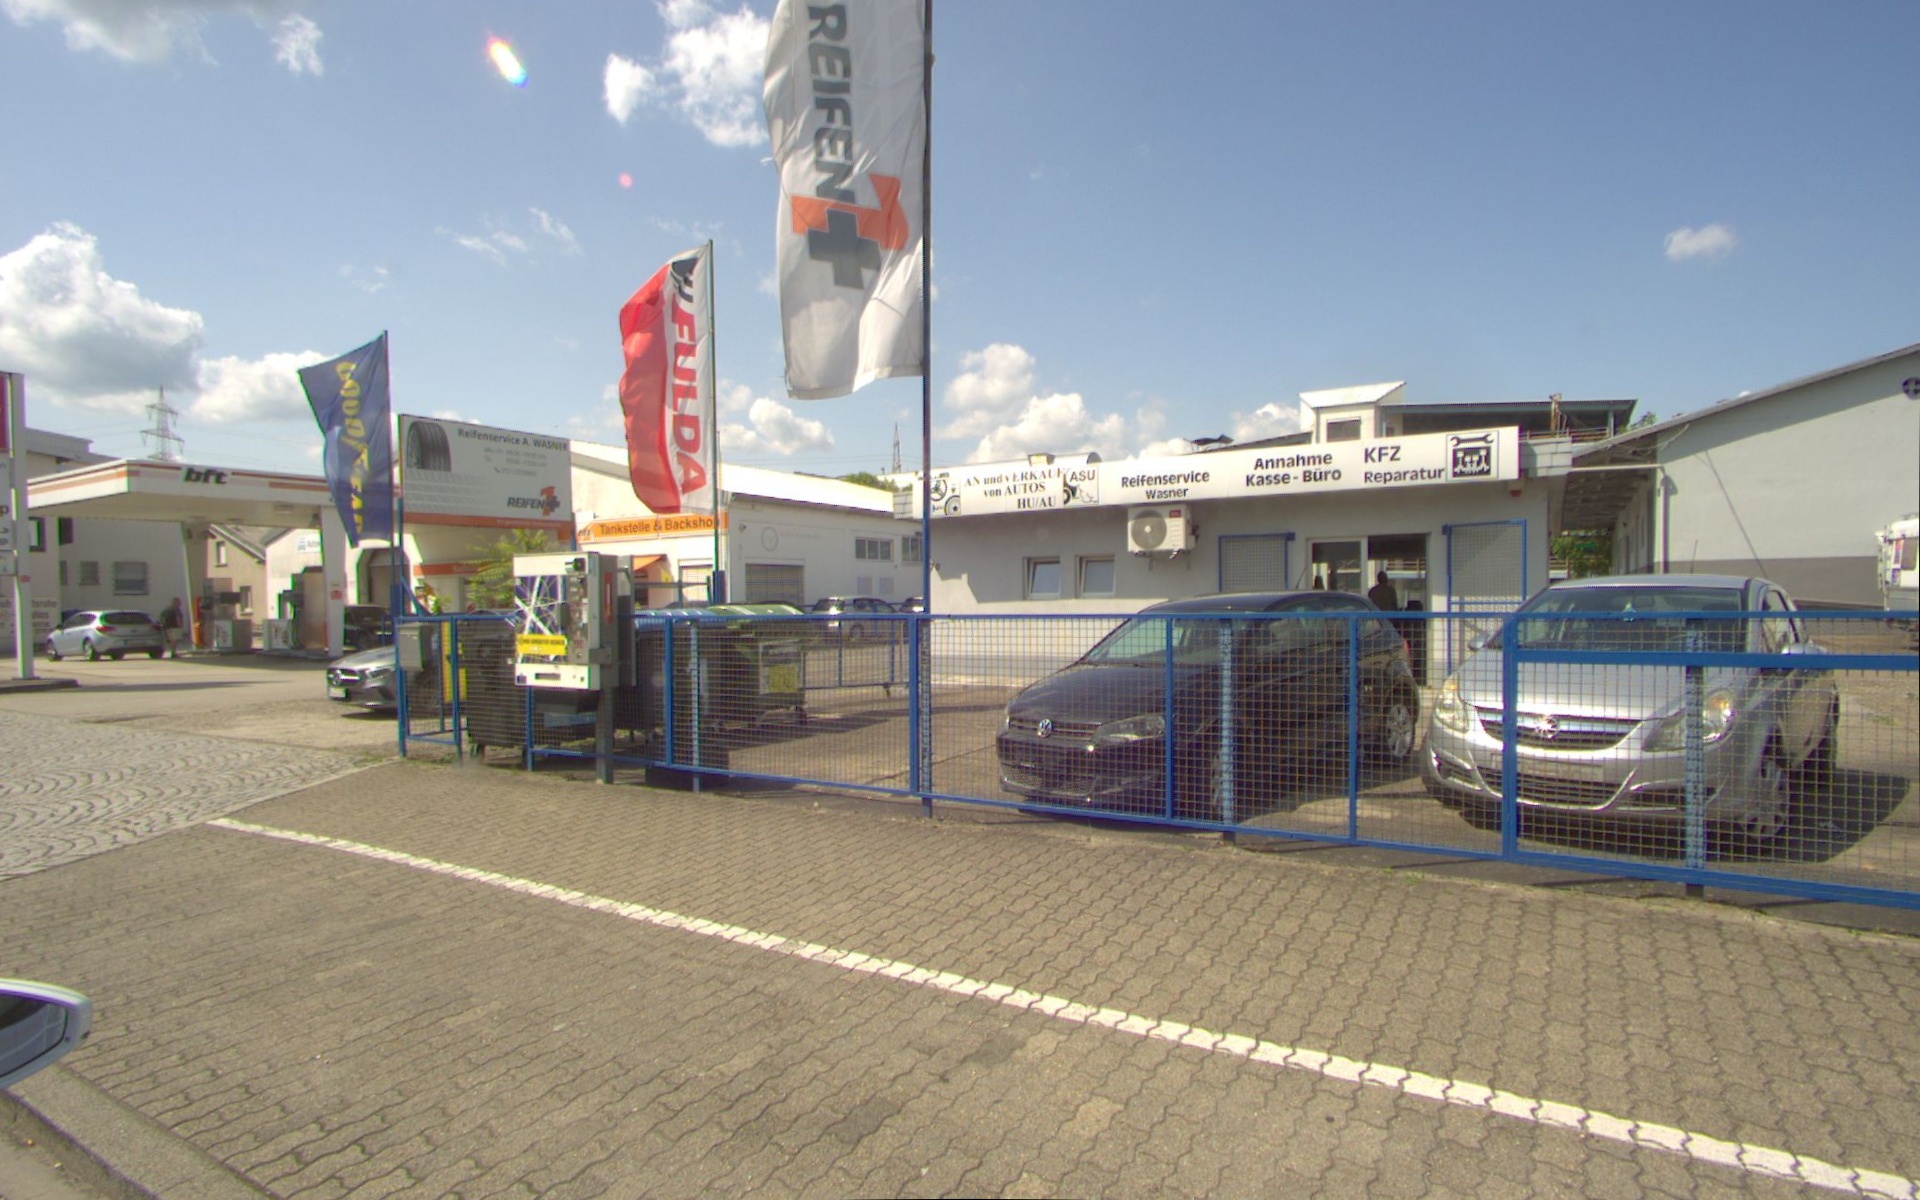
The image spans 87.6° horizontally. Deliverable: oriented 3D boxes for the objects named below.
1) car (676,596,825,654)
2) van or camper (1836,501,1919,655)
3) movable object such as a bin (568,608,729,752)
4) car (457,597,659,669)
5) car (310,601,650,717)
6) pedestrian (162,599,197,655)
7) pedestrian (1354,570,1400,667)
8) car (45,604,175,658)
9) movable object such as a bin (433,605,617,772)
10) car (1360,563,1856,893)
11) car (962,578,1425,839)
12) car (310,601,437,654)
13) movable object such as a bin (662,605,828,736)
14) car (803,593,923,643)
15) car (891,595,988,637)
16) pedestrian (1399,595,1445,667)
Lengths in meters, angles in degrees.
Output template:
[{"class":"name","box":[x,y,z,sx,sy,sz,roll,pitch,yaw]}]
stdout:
[{"class":"car","box":[-5.717,0.644,27.815,1.564,1.482,4.187,0,0,33]},{"class":"van or camper","box":[21.016,-0.452,19.524,5.571,3.005,2.264,0,1,31]},{"class":"movable object such as a bin","box":[-3.326,0.803,10.733,1.225,1.415,1.106,0,1,31]},{"class":"car","box":[-9.164,0.690,23.159,1.564,1.482,4.187,0,0,33]},{"class":"car","box":[-6.909,0.753,14.832,1.653,1.434,4.256,0,0,37]},{"class":"pedestrian","box":[-23.775,0.804,30.512,0.698,1.679,0.546,-1,1,-22]},{"class":"pedestrian","box":[7.353,0.320,17.641,0.654,1.671,0.563,0,1,34]},{"class":"car","box":[-25.735,0.904,30.302,3.776,1.523,1.803,-1,0,30]},{"class":"movable object such as a bin","box":[-4.159,0.787,9.603,1.225,1.455,1.106,0,1,31]},{"class":"car","box":[4.273,0.561,6.376,3.729,1.472,1.757,-1,0,-42]},{"class":"car","box":[1.897,0.602,7.480,3.655,1.472,1.625,-1,0,-43]},{"class":"car","box":[-18.191,0.821,31.048,3.777,1.523,1.803,-1,0,31]},{"class":"movable object such as a bin","box":[-2.532,0.784,11.898,1.318,1.414,1.400,0,1,31]},{"class":"car","box":[-3.028,0.530,32.023,1.564,1.482,4.187,0,0,33]},{"class":"car","box":[-0.670,0.537,35.682,1.564,1.385,3.860,0,0,33]},{"class":"pedestrian","box":[8.047,0.534,17.434,0.654,1.225,0.563,0,1,34]}]
